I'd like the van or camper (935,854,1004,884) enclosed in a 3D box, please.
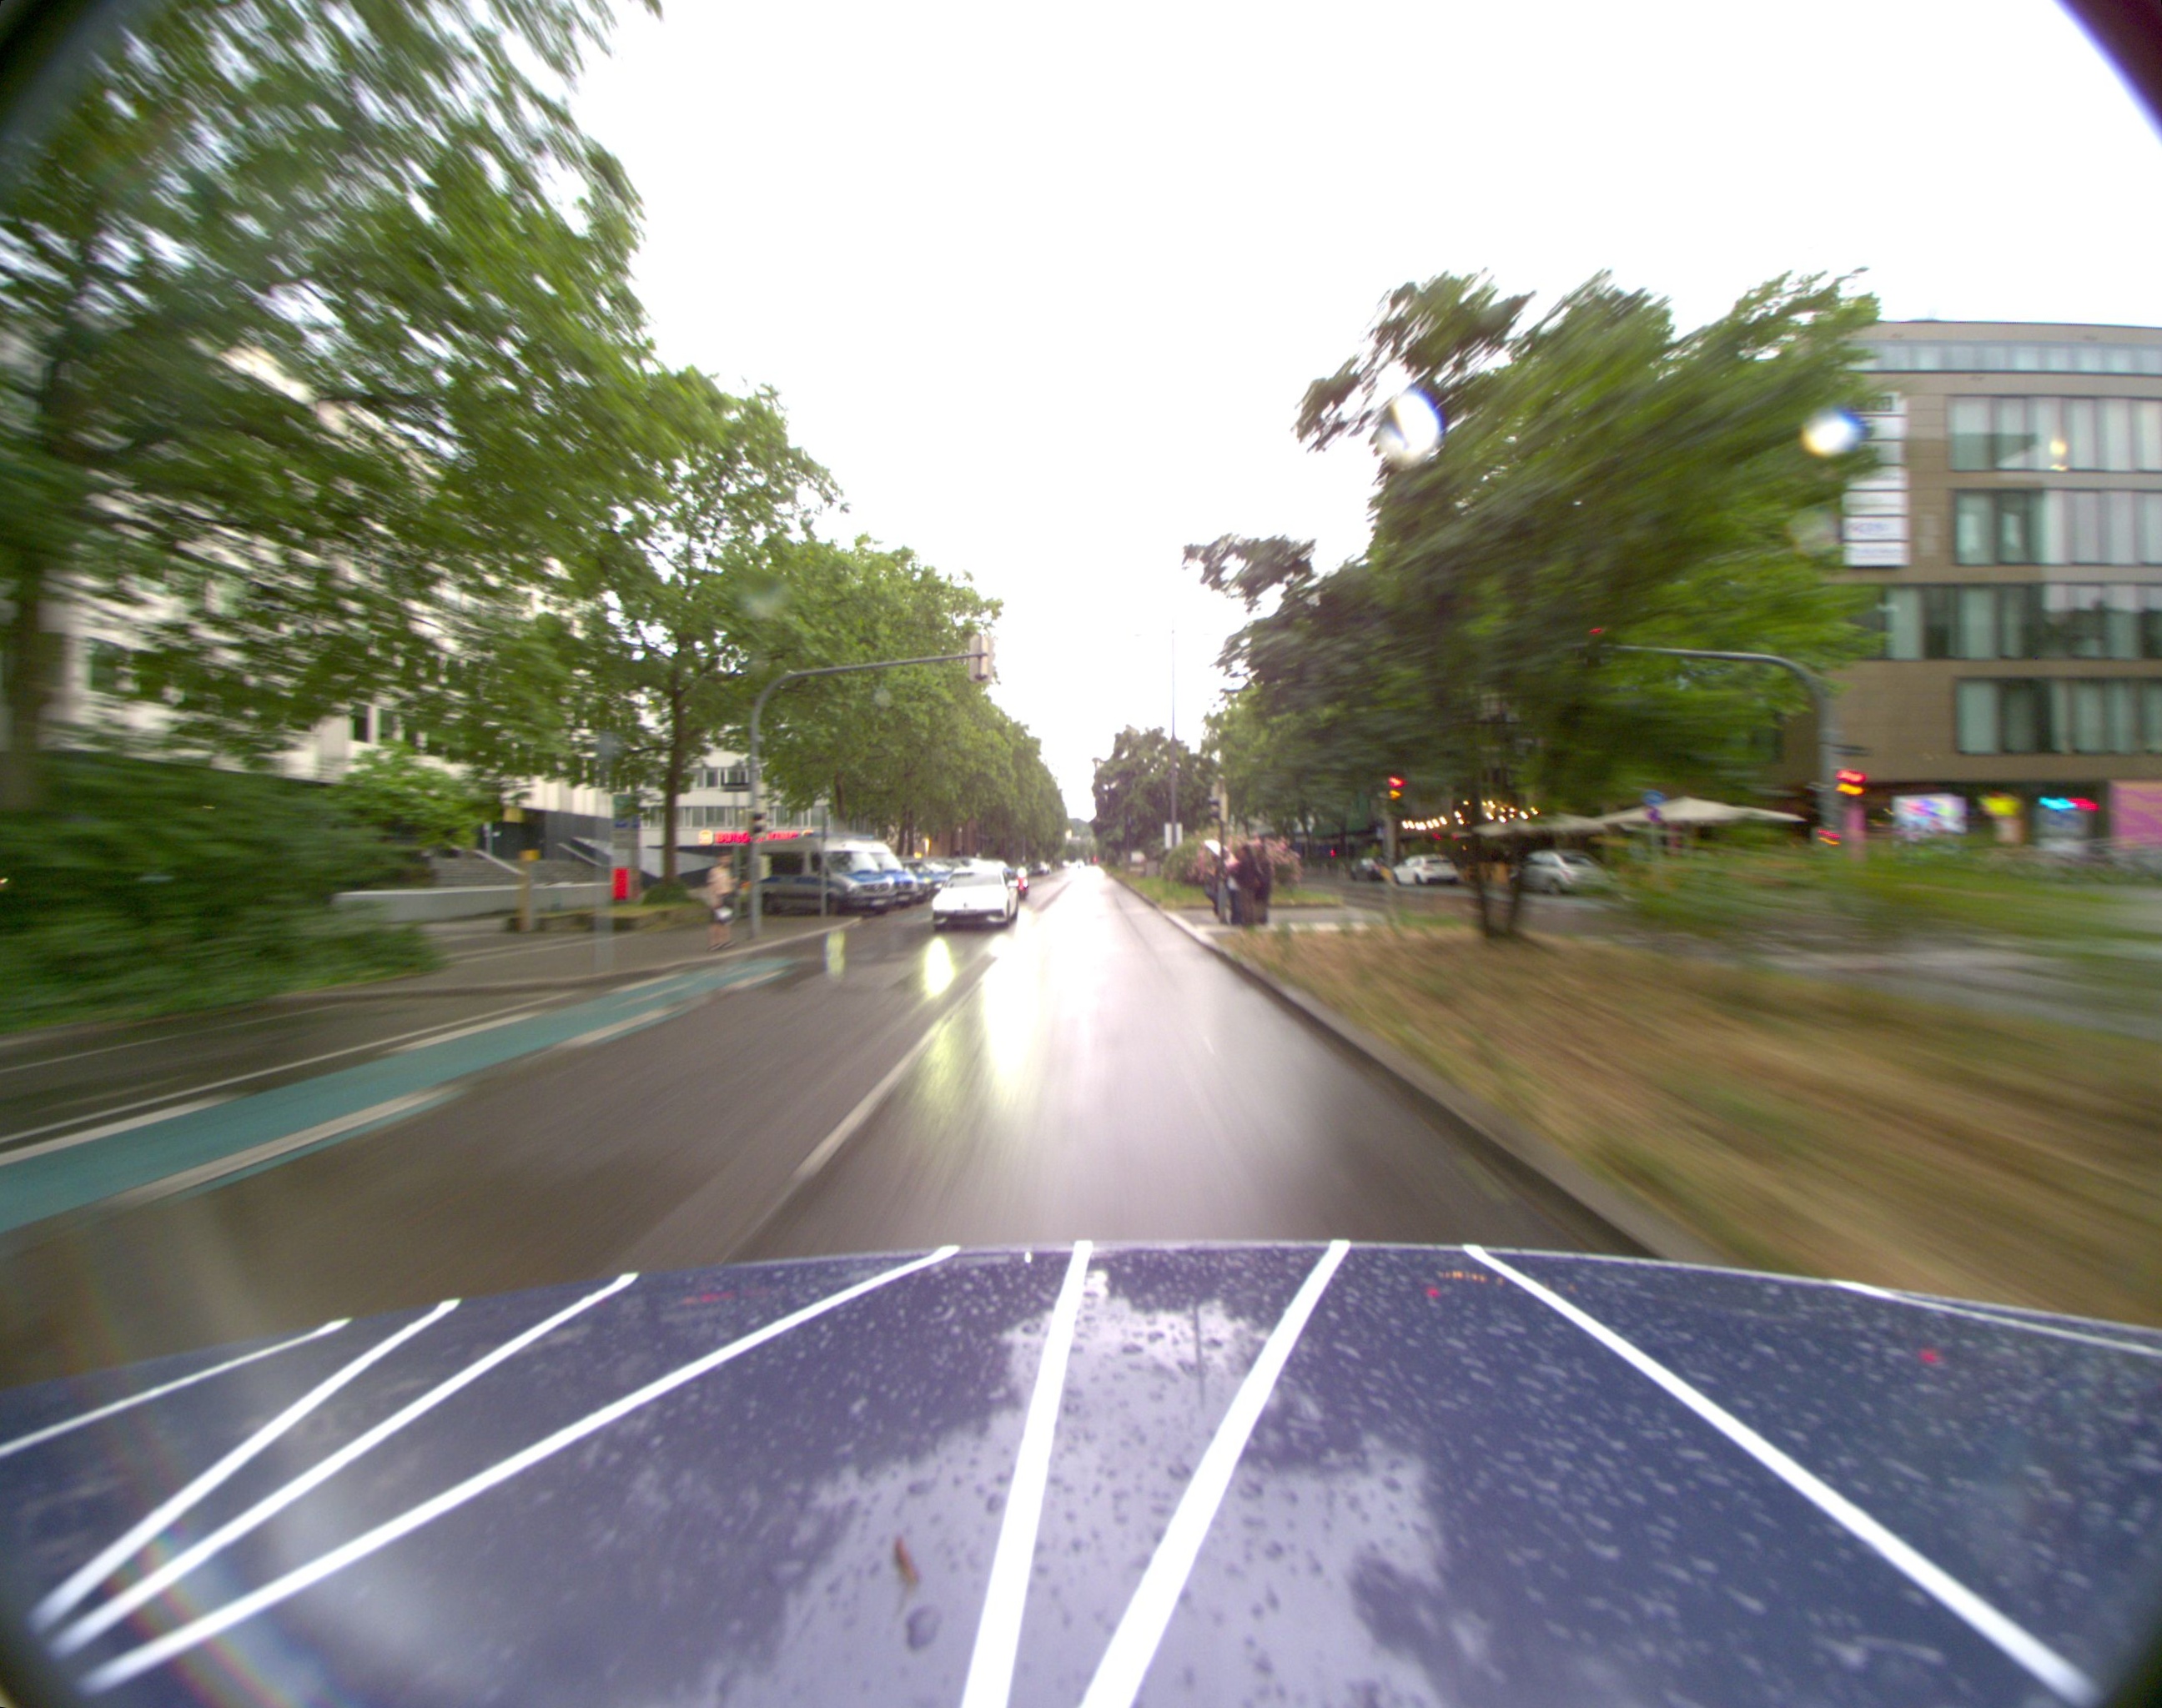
[{"bbox_3d":[-7.829,1.069,53.050,4.841,1.986,1.871,-2,0,38],"label":"van or camper"}]

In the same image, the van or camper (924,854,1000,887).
[{"bbox_3d":[-7.731,1.061,49.067,4.781,1.999,2.004,-2,0,37],"label":"van or camper"}]

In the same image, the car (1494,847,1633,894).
[{"bbox_3d":[16.887,0.575,26.898,1.999,1.500,4.518,-1,-1,-1],"label":"car"}]

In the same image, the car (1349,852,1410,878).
[{"bbox_3d":[17.099,0.625,43.807,1.829,1.386,4.484,-1,0,1],"label":"car"}]

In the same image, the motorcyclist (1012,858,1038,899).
[{"bbox_3d":[-2.359,1.010,31.788,0.850,1.634,0.870,-2,0,-17],"label":"motorcyclist"}]

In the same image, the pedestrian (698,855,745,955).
[{"bbox_3d":[-6.745,0.934,14.281,0.607,1.820,0.564,-1,0,-8],"label":"pedestrian"}]

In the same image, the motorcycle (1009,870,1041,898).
[{"bbox_3d":[-2.348,1.234,31.745,0.869,1.136,2.019,-2,0,-17],"label":"motorcycle"}]

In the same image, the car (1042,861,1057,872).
[{"bbox_3d":[-4.420,1.806,108.335,1.747,1.424,4.586,-2,0,1],"label":"car"}]

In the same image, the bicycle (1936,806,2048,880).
[{"bbox_3d":[26.408,-0.319,22.044,2.392,2.002,0.690,-3,0,-1],"label":"bicycle"}]

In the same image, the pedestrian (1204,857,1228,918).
[{"bbox_3d":[3.314,0.811,18.638,0.482,1.480,0.545,-1,0,19],"label":"pedestrian"}]

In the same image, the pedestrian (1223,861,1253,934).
[{"bbox_3d":[3.129,0.857,15.164,0.424,1.442,0.385,-1,0,-17],"label":"pedestrian"}]

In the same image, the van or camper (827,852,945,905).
[{"bbox_3d":[-8.177,0.995,31.671,5.003,2.002,2.004,-1,1,37],"label":"van or camper"}]

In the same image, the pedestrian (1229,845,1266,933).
[{"bbox_3d":[3.251,0.673,14.861,0.575,1.688,0.404,-1,0,-11],"label":"pedestrian"}]

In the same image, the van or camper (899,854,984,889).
[{"bbox_3d":[-8.489,1.047,45.969,5.010,1.983,2.004,-1,0,34],"label":"van or camper"}]

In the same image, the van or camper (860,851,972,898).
[{"bbox_3d":[-7.709,0.980,35.201,5.195,1.980,2.004,-2,0,36],"label":"van or camper"}]

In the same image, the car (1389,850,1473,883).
[{"bbox_3d":[16.921,0.600,36.989,1.998,1.362,4.540,-3,-1,1],"label":"car"}]

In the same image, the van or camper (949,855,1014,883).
[{"bbox_3d":[-7.842,1.181,59.831,5.075,2.007,2.001,-3,0,38],"label":"van or camper"}]

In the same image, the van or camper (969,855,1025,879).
[{"bbox_3d":[-7.403,1.156,66.708,4.934,1.980,2.006,-2,0,39],"label":"van or camper"}]

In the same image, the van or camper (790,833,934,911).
[{"bbox_3d":[-8.253,0.666,28.328,5.796,2.664,2.004,-1,0,37],"label":"van or camper"}]

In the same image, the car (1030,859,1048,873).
[{"bbox_3d":[-5.036,1.446,91.696,1.797,1.593,4.424,-2,0,0],"label":"car"}]

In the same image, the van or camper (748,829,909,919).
[{"bbox_3d":[-8.438,0.657,25.105,5.800,2.662,2.152,-2,0,39],"label":"van or camper"}]

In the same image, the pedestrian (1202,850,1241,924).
[{"bbox_3d":[3.164,0.735,17.186,0.613,1.632,0.604,-1,0,-21],"label":"pedestrian"}]

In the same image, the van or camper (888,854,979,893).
[{"bbox_3d":[-8.241,1.079,42.086,5.093,2.013,2.110,-2,0,39],"label":"van or camper"}]

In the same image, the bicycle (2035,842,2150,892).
[{"bbox_3d":[26.751,0.344,20.107,2.393,1.239,0.689,-1,0,-6],"label":"bicycle"}]

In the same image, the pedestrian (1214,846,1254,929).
[{"bbox_3d":[3.088,0.664,15.367,0.630,1.633,0.444,-1,0,-13],"label":"pedestrian"}]

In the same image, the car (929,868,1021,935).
[{"bbox_3d":[-2.571,1.105,19.475,1.866,1.436,4.508,-2,-1,-2],"label":"car"}]

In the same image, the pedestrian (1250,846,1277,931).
[{"bbox_3d":[3.703,0.695,15.421,0.400,1.710,0.325,-1,0,-13],"label":"pedestrian"}]

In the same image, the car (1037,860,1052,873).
[{"bbox_3d":[-4.652,1.631,96.849,1.756,1.576,4.409,-2,-1,-3],"label":"car"}]
